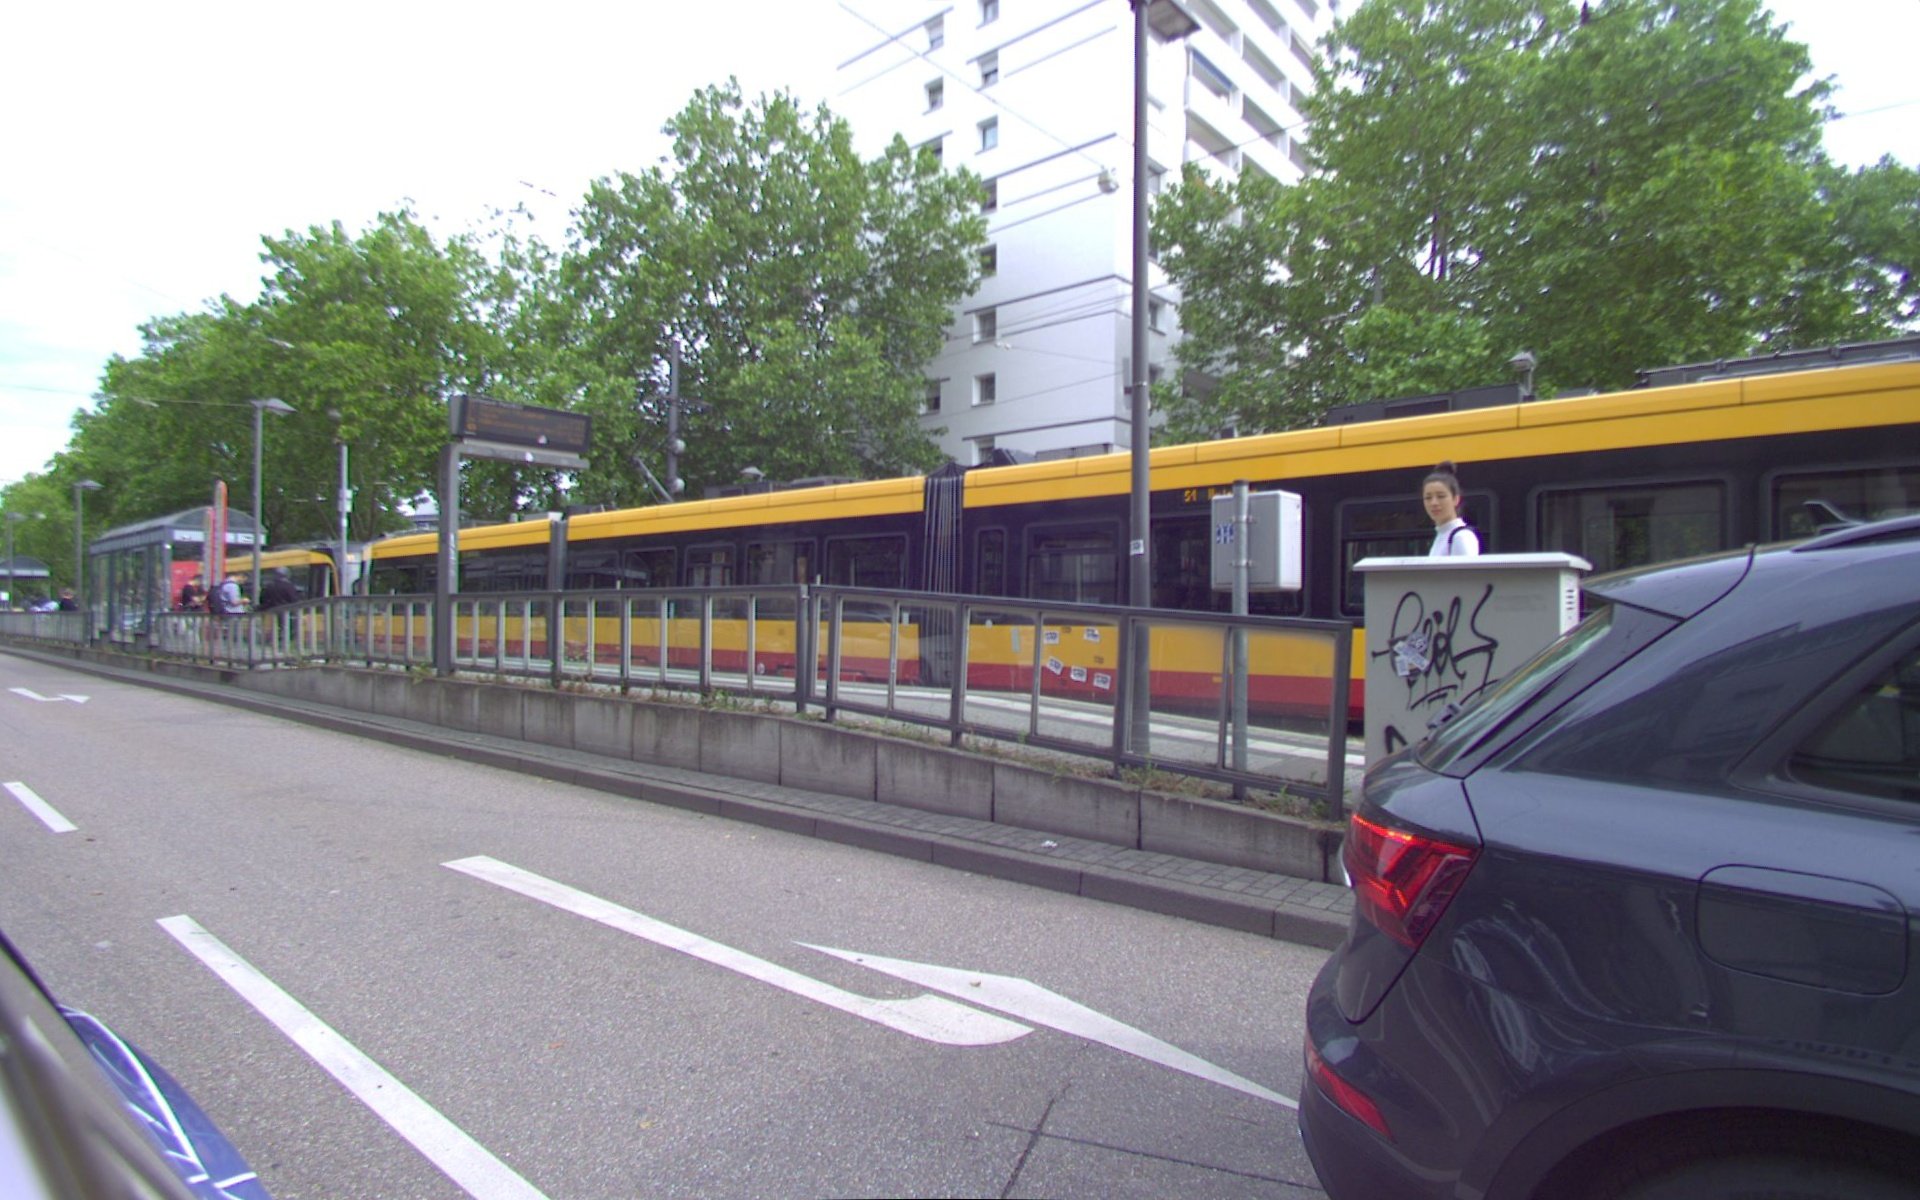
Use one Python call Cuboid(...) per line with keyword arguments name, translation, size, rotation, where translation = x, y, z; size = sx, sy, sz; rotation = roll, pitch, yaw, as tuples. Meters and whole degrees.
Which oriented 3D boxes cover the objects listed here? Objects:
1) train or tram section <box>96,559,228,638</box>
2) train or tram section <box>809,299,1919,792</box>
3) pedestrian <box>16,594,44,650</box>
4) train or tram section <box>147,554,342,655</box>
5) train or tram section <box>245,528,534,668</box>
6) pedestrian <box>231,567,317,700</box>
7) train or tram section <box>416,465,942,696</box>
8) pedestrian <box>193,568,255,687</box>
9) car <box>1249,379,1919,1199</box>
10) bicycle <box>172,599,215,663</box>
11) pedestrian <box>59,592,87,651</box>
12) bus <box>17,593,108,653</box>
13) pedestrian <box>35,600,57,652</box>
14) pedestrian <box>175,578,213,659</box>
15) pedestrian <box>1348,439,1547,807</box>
Cuboid(name="train or tram section", translation=(-40.823, -0.057, 51.536), size=(12.534, 3.588, 3.060), rotation=(0, 0, 41))
Cuboid(name="train or tram section", translation=(4.627, -0.388, 11.551), size=(15.841, 3.615, 3.028), rotation=(0, 0, 41))
Cuboid(name="pedestrian", translation=(-34.233, 0.797, 37.249), size=(0.587, 2.029, 0.668), rotation=(-1, 0, 38))
Cuboid(name="train or tram section", translation=(-30.213, 0.196, 42.162), size=(15.764, 3.558, 3.028), rotation=(0, 0, 41))
Cuboid(name="train or tram section", translation=(-18.551, -0.024, 31.926), size=(15.287, 3.558, 3.028), rotation=(0, 0, 41))
Cuboid(name="pedestrian", translation=(-10.759, 0.515, 15.896), size=(0.808, 2.029, 0.754), rotation=(-1, 0, 4))
Cuboid(name="train or tram section", translation=(-7.061, -0.273, 21.817), size=(15.287, 3.558, 3.028), rotation=(0, 0, 41))
Cuboid(name="pedestrian", translation=(-12.922, 0.460, 17.793), size=(0.742, 2.029, 0.821), rotation=(-1, 0, -26))
Cuboid(name="car", translation=(2.747, 0.538, 1.030), size=(4.354, 1.613, 1.861), rotation=(-1, 0, 40))
Cuboid(name="bicycle", translation=(-15.286, 0.602, 20.167), size=(1.289, 1.231, 0.414), rotation=(-1, 0, 41))
Cuboid(name="pedestrian", translation=(-25.333, 0.612, 28.908), size=(0.730, 1.645, 0.506), rotation=(-1, 0, 42))
Cuboid(name="bus", translation=(-32.752, 0.797, 36.900), size=(3.998, 2.029, 1.973), rotation=(0, 0, 41))
Cuboid(name="pedestrian", translation=(-29.017, 0.823, 32.143), size=(0.392, 1.645, 0.474), rotation=(-1, 0, 42))
Cuboid(name="pedestrian", translation=(-15.985, 0.378, 21.120), size=(0.471, 1.645, 0.526), rotation=(-1, 0, 39))
Cuboid(name="pedestrian", translation=(2.474, 0.102, 5.124), size=(0.730, 1.674, 0.746), rotation=(-1, 0, 41))
